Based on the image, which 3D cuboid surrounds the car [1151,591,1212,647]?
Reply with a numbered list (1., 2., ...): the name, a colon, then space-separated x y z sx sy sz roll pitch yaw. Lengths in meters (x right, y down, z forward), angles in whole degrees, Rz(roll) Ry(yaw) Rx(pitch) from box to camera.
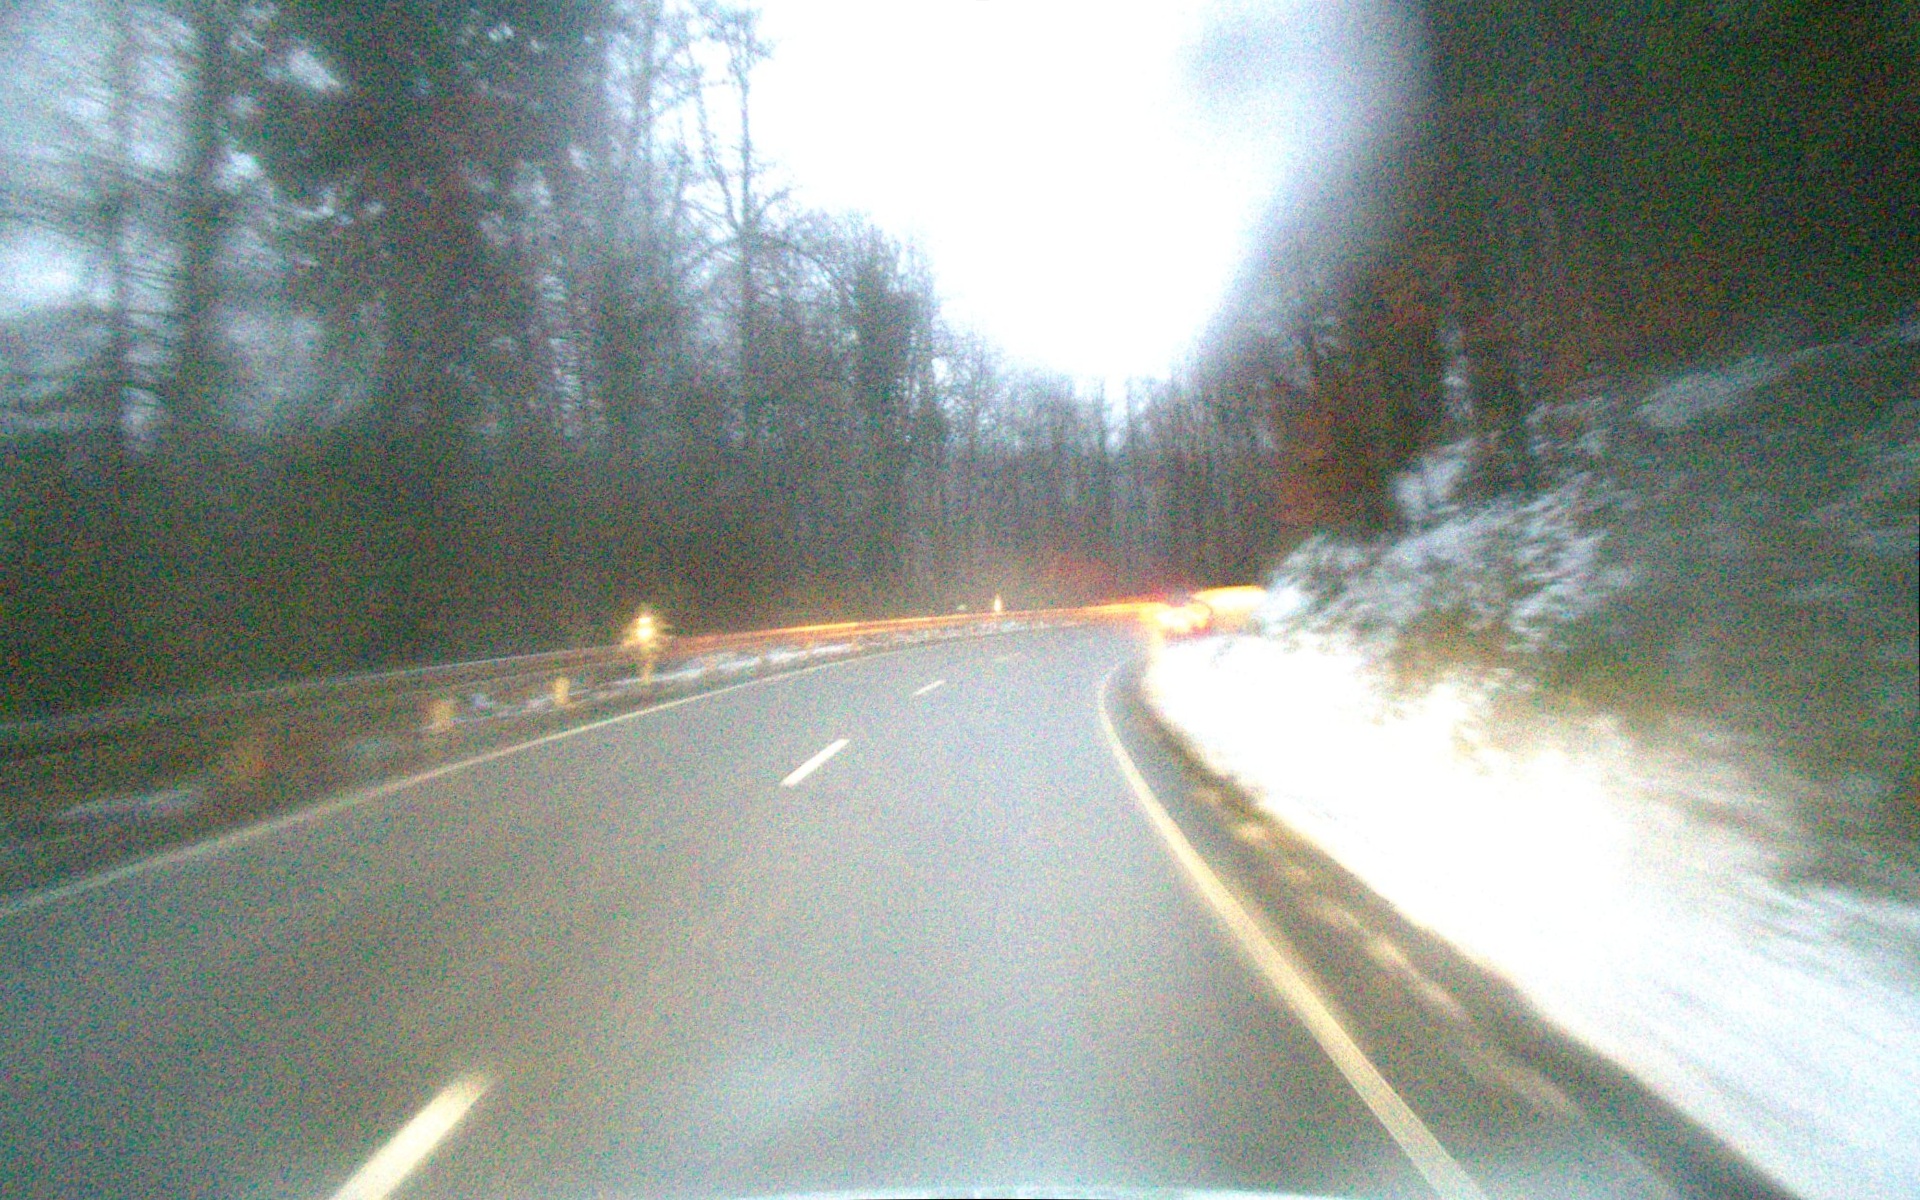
1. car: 7.942 0.660 59.068 1.951 1.905 4.003 -1 0 10
